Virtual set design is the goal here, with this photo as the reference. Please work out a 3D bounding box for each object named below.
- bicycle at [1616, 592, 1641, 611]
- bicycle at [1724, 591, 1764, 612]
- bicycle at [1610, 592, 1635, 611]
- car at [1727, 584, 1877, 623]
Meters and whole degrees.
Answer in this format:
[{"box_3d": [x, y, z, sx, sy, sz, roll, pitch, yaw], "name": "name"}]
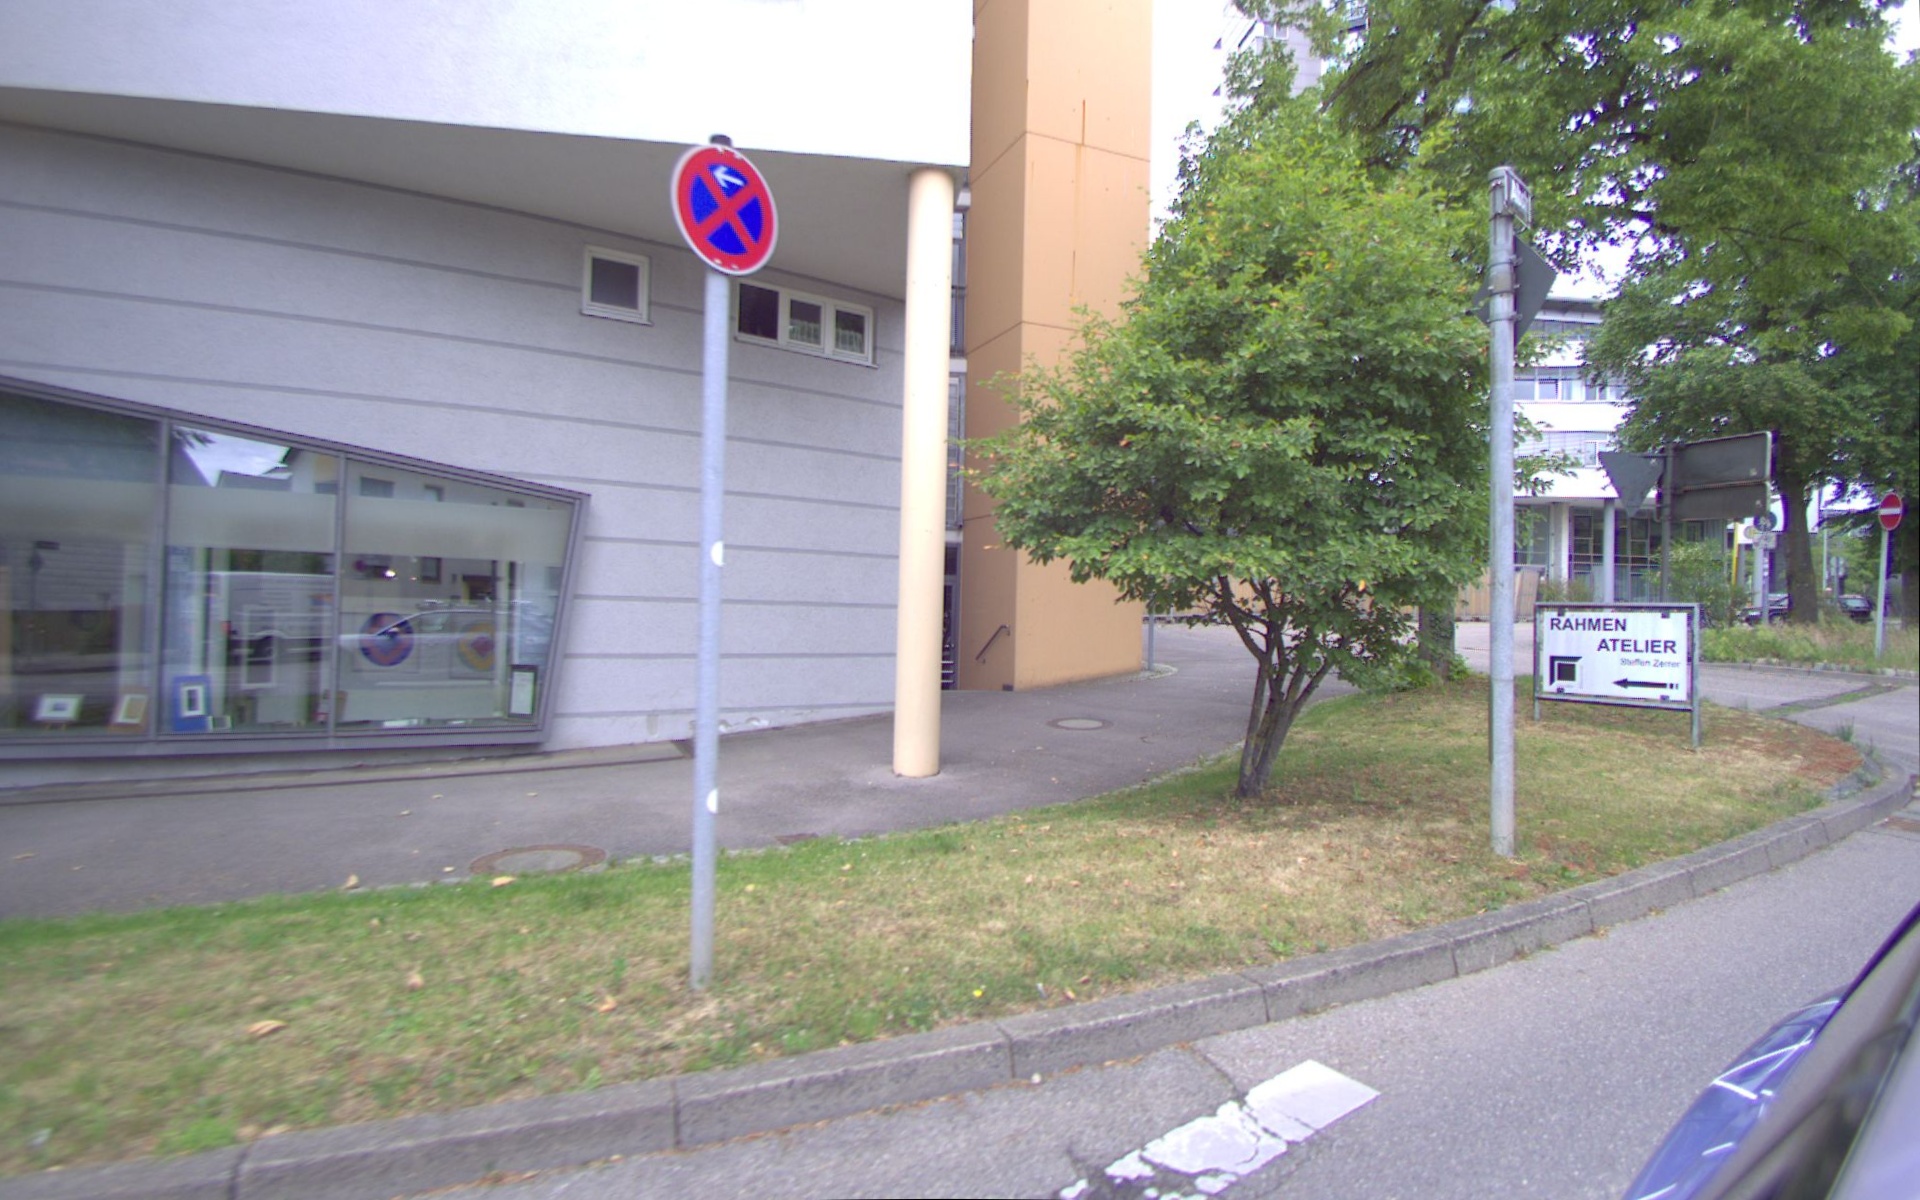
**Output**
[{"box_3d": [38.146, 0.073, 57.758, 0.385, 1.085, 1.403, 0, 0, -8], "name": "bicycle"}, {"box_3d": [43.356, 0.078, 55.954, 1.729, 1.162, 0.484, -1, -1, 39], "name": "bicycle"}, {"box_3d": [37.639, 0.072, 57.512, 0.385, 1.085, 1.403, 0, 0, -8], "name": "bicycle"}, {"box_3d": [36.902, 0.134, 44.470, 4.665, 1.535, 1.867, 2, 1, 10], "name": "car"}]
